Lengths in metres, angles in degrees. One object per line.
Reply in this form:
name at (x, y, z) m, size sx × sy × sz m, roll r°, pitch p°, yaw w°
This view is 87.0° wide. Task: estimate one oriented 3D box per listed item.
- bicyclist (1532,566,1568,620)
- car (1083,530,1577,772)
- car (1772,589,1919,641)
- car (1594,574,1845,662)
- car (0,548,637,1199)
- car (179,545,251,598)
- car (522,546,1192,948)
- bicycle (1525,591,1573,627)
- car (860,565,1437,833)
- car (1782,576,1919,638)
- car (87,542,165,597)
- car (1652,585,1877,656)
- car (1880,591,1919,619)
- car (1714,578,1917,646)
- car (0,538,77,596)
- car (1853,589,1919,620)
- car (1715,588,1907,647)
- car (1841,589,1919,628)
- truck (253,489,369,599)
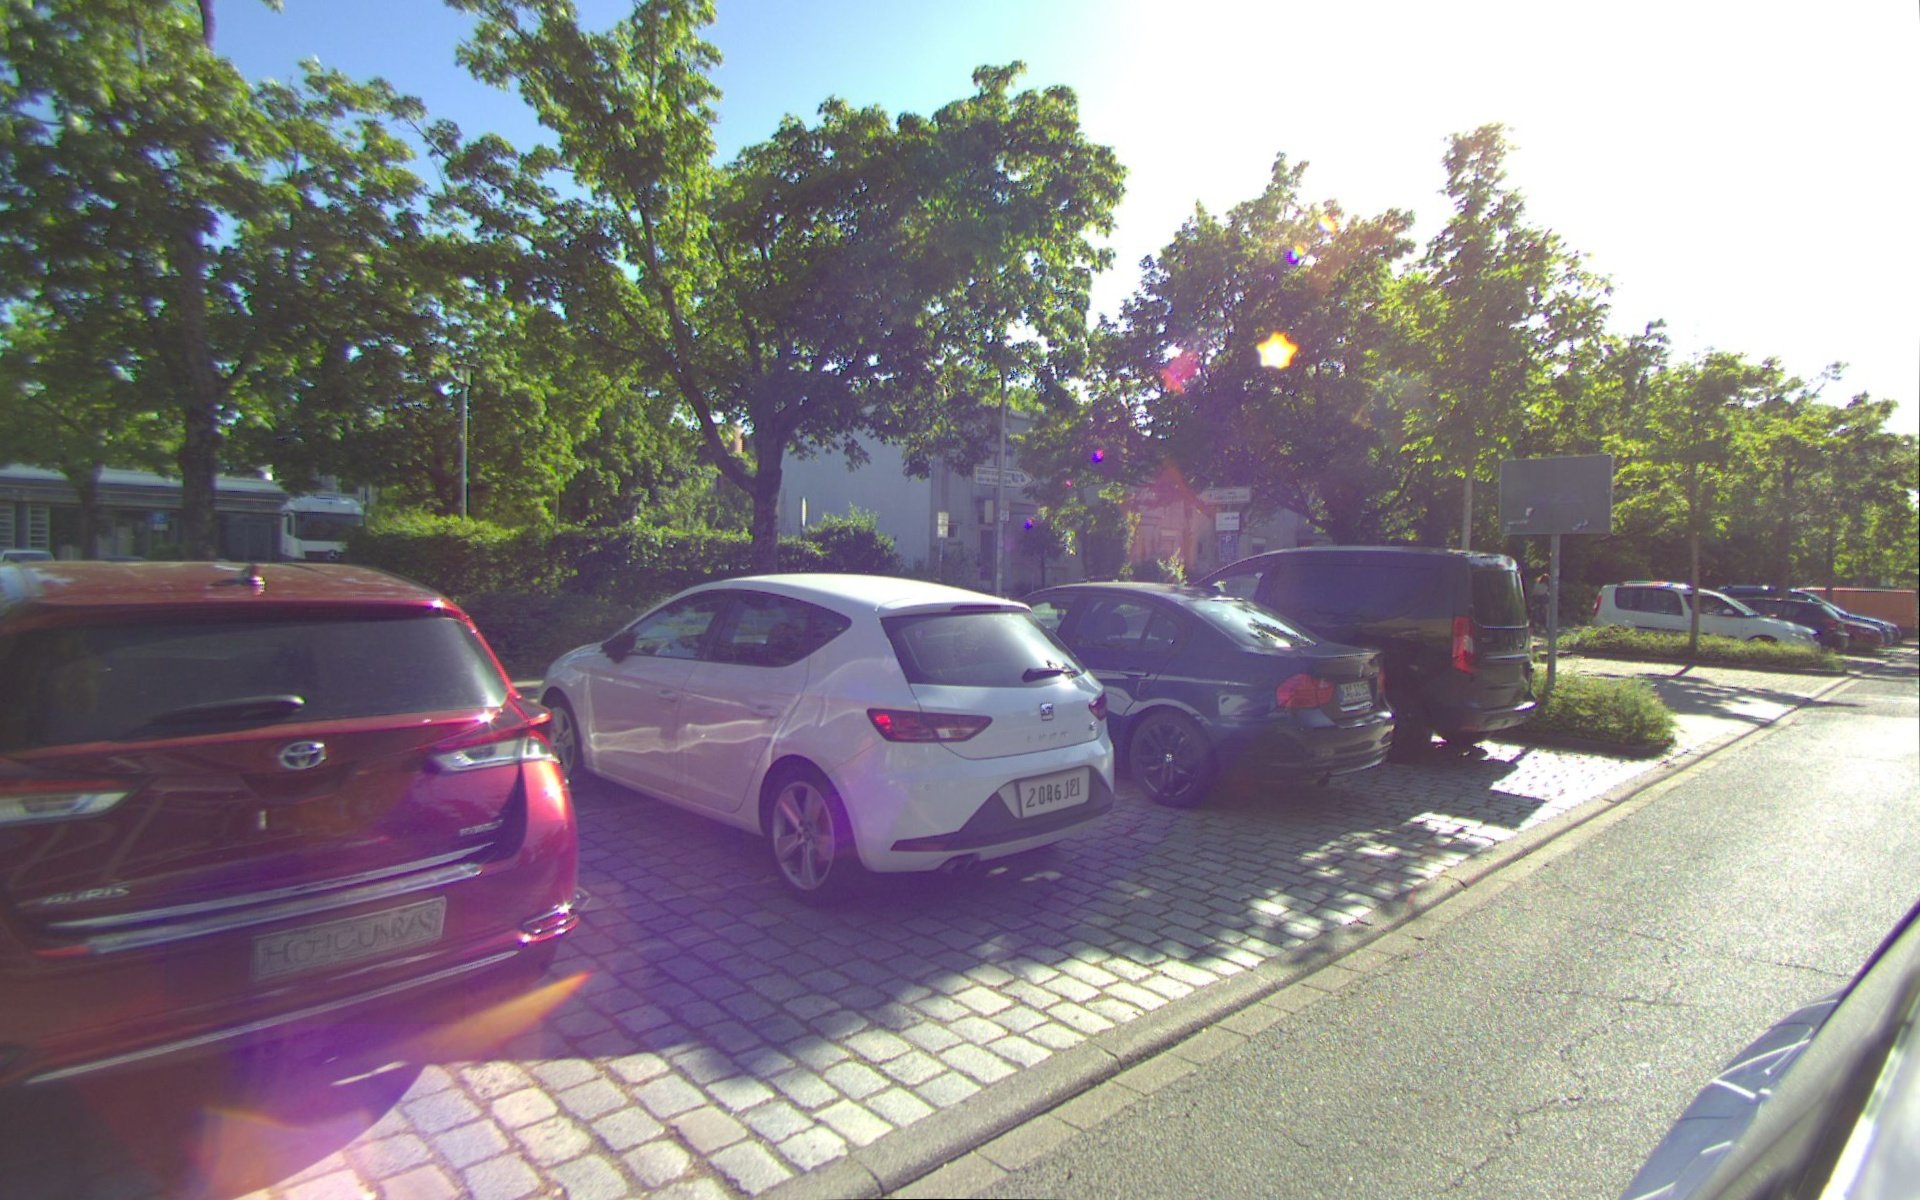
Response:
bicyclist at (17.202, -0.191, 29.506) m, size 0.997 × 1.542 × 0.595 m, roll 1°, pitch 0°, yaw -41°
car at (3.418, 0.281, 9.976) m, size 1.848 × 1.869 × 4.161 m, roll 0°, pitch 3°, yaw -42°
car at (30.433, 0.460, 34.726) m, size 1.740 × 1.492 × 3.778 m, roll -1°, pitch 3°, yaw -44°
car at (16.554, 0.308, 22.198) m, size 1.799 × 1.617 × 4.159 m, roll -1°, pitch 3°, yaw -44°
car at (-2.881, 0.542, 3.771) m, size 1.645 × 1.444 × 3.902 m, roll -2°, pitch 3°, yaw -44°
car at (-26.091, -0.989, 35.400) m, size 1.866 × 1.705 × 4.224 m, roll 1°, pitch 1°, yaw -38°
car at (-0.853, 0.482, 5.829) m, size 1.779 × 1.454 × 3.903 m, roll 0°, pitch 3°, yaw -44°
bicycle at (17.200, 0.277, 29.519) m, size 2.053 × 1.008 × 0.595 m, roll 1°, pitch 1°, yaw -42°
car at (1.230, 0.508, 7.931) m, size 1.799 × 1.423 × 4.159 m, roll -1°, pitch 3°, yaw -44°
car at (33.417, 0.225, 37.561) m, size 1.942 × 2.057 × 4.251 m, roll -1°, pitch 3°, yaw -44°
car at (-27.921, -1.027, 33.971) m, size 1.866 × 1.705 × 3.998 m, roll 1°, pitch 1°, yaw -38°
car at (19.926, 0.435, 25.176) m, size 1.799 × 1.423 × 4.159 m, roll -1°, pitch 3°, yaw -44°
car at (62.846, 0.362, 65.866) m, size 1.942 × 1.736 × 4.251 m, roll -1°, pitch 3°, yaw -44°
car at (26.579, 0.311, 31.571) m, size 1.799 × 1.794 × 4.654 m, roll -1°, pitch 3°, yaw -44°
car at (-29.664, -1.060, 32.380) m, size 1.866 × 1.705 × 3.998 m, roll 1°, pitch 1°, yaw -38°
car at (57.213, 0.290, 61.474) m, size 1.942 × 1.736 × 4.251 m, roll -1°, pitch 3°, yaw -44°
car at (24.961, 0.466, 29.787) m, size 1.799 × 1.423 × 4.159 m, roll -1°, pitch 3°, yaw -44°
car at (43.032, 0.410, 46.067) m, size 1.942 × 1.633 × 4.251 m, roll -1°, pitch 3°, yaw -44°
truck at (-25.272, -2.095, 39.248) m, size 2.762 × 3.854 × 6.915 m, roll 1°, pitch 1°, yaw -41°
